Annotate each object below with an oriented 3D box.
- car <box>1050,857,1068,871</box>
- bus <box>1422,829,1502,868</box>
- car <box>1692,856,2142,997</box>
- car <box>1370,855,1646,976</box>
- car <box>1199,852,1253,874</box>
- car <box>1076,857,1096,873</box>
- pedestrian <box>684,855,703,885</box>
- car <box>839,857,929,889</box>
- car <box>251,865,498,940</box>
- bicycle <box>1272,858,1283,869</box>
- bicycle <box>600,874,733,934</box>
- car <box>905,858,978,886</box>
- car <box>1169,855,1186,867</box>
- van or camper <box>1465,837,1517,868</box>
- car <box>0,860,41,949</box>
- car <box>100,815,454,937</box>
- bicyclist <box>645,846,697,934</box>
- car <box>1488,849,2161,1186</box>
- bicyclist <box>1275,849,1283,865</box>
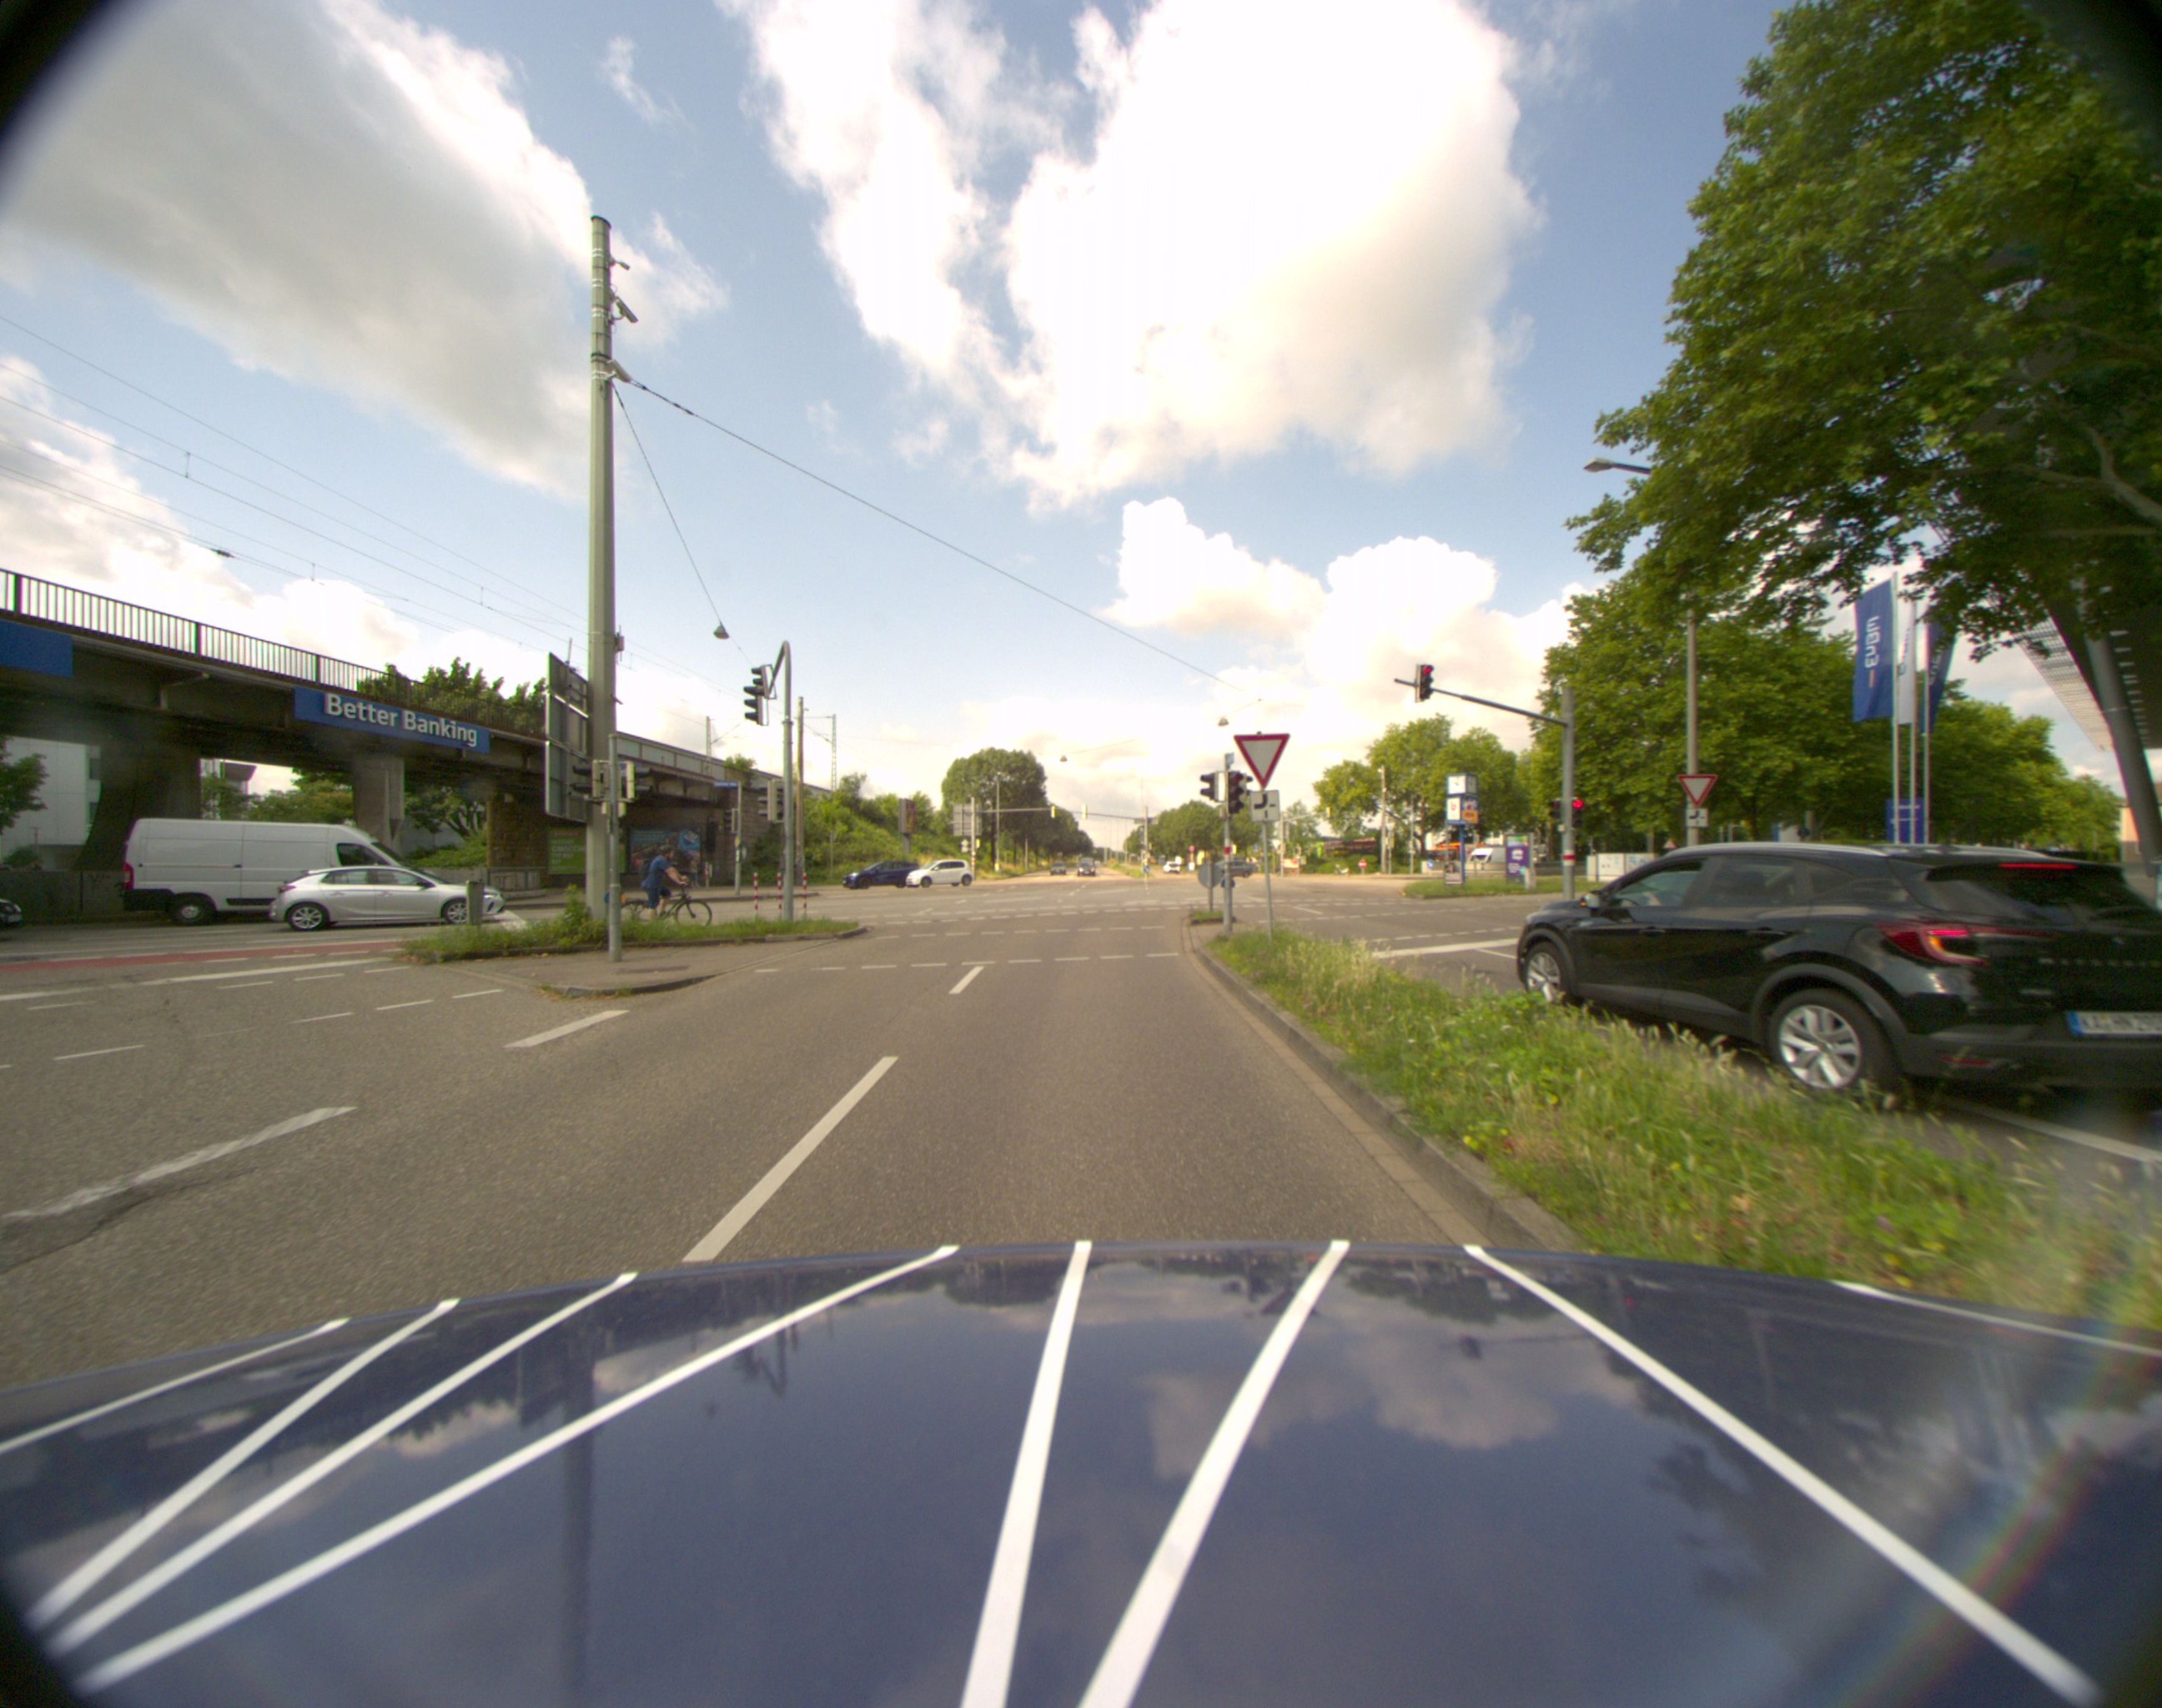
[{"bbox_3d":[-2.381,1.086,82.391,1.716,1.477,4.000,-1,0,1],"label":"car"},{"bbox_3d":[39.787,-0.647,79.201,10.410,3.448,2.738,-4,5,-35],"label":"bus"},{"bbox_3d":[11.146,0.839,10.656,1.734,1.562,3.998,2,0,-4],"label":"car"},{"bbox_3d":[6.489,0.820,12.279,1.869,1.564,4.568,-1,0,0],"label":"car"},{"bbox_3d":[11.331,0.685,59.361,4.006,1.456,1.768,-4,2,-35],"label":"car"},{"bbox_3d":[0.520,1.043,72.569,1.820,1.477,4.000,-1,0,1],"label":"car"},{"bbox_3d":[-21.852,0.904,42.826,0.692,1.642,0.608,-2,4,-5],"label":"pedestrian"},{"bbox_3d":[-11.293,1.083,43.719,4.588,1.565,1.888,-2,-2,-34],"label":"car"},{"bbox_3d":[-16.140,1.032,17.691,4.007,1.468,1.703,-1,1,-36],"label":"car"},{"bbox_3d":[21.280,1.033,82.305,0.791,1.189,2.234,-1,0,7],"label":"bicycle"},{"bbox_3d":[-8.407,0.986,15.517,2.321,1.087,0.843,-1,1,-28],"label":"bicycle"},{"bbox_3d":[-7.731,0.972,42.184,3.609,1.477,1.733,0,-1,-37],"label":"car"},{"bbox_3d":[12.288,0.871,96.541,1.747,1.470,3.802,1,0,11],"label":"car"},{"bbox_3d":[41.521,-0.225,76.881,5.975,2.771,2.158,-4,5,-36],"label":"van or camper"},{"bbox_3d":[-22.625,0.974,13.426,4.673,1.574,1.765,-1,3,-39],"label":"car"},{"bbox_3d":[-19.772,0.377,19.264,5.635,2.514,2.258,-4,6,-34],"label":"car"},{"bbox_3d":[-8.359,0.711,15.518,0.824,1.670,0.843,-3,5,-27],"label":"bicyclist"},{"bbox_3d":[5.114,0.799,5.751,1.712,1.578,4.362,0,-1,0],"label":"car"},{"bbox_3d":[21.453,0.296,82.370,0.677,1.676,0.755,-1,1,7],"label":"bicyclist"}]
